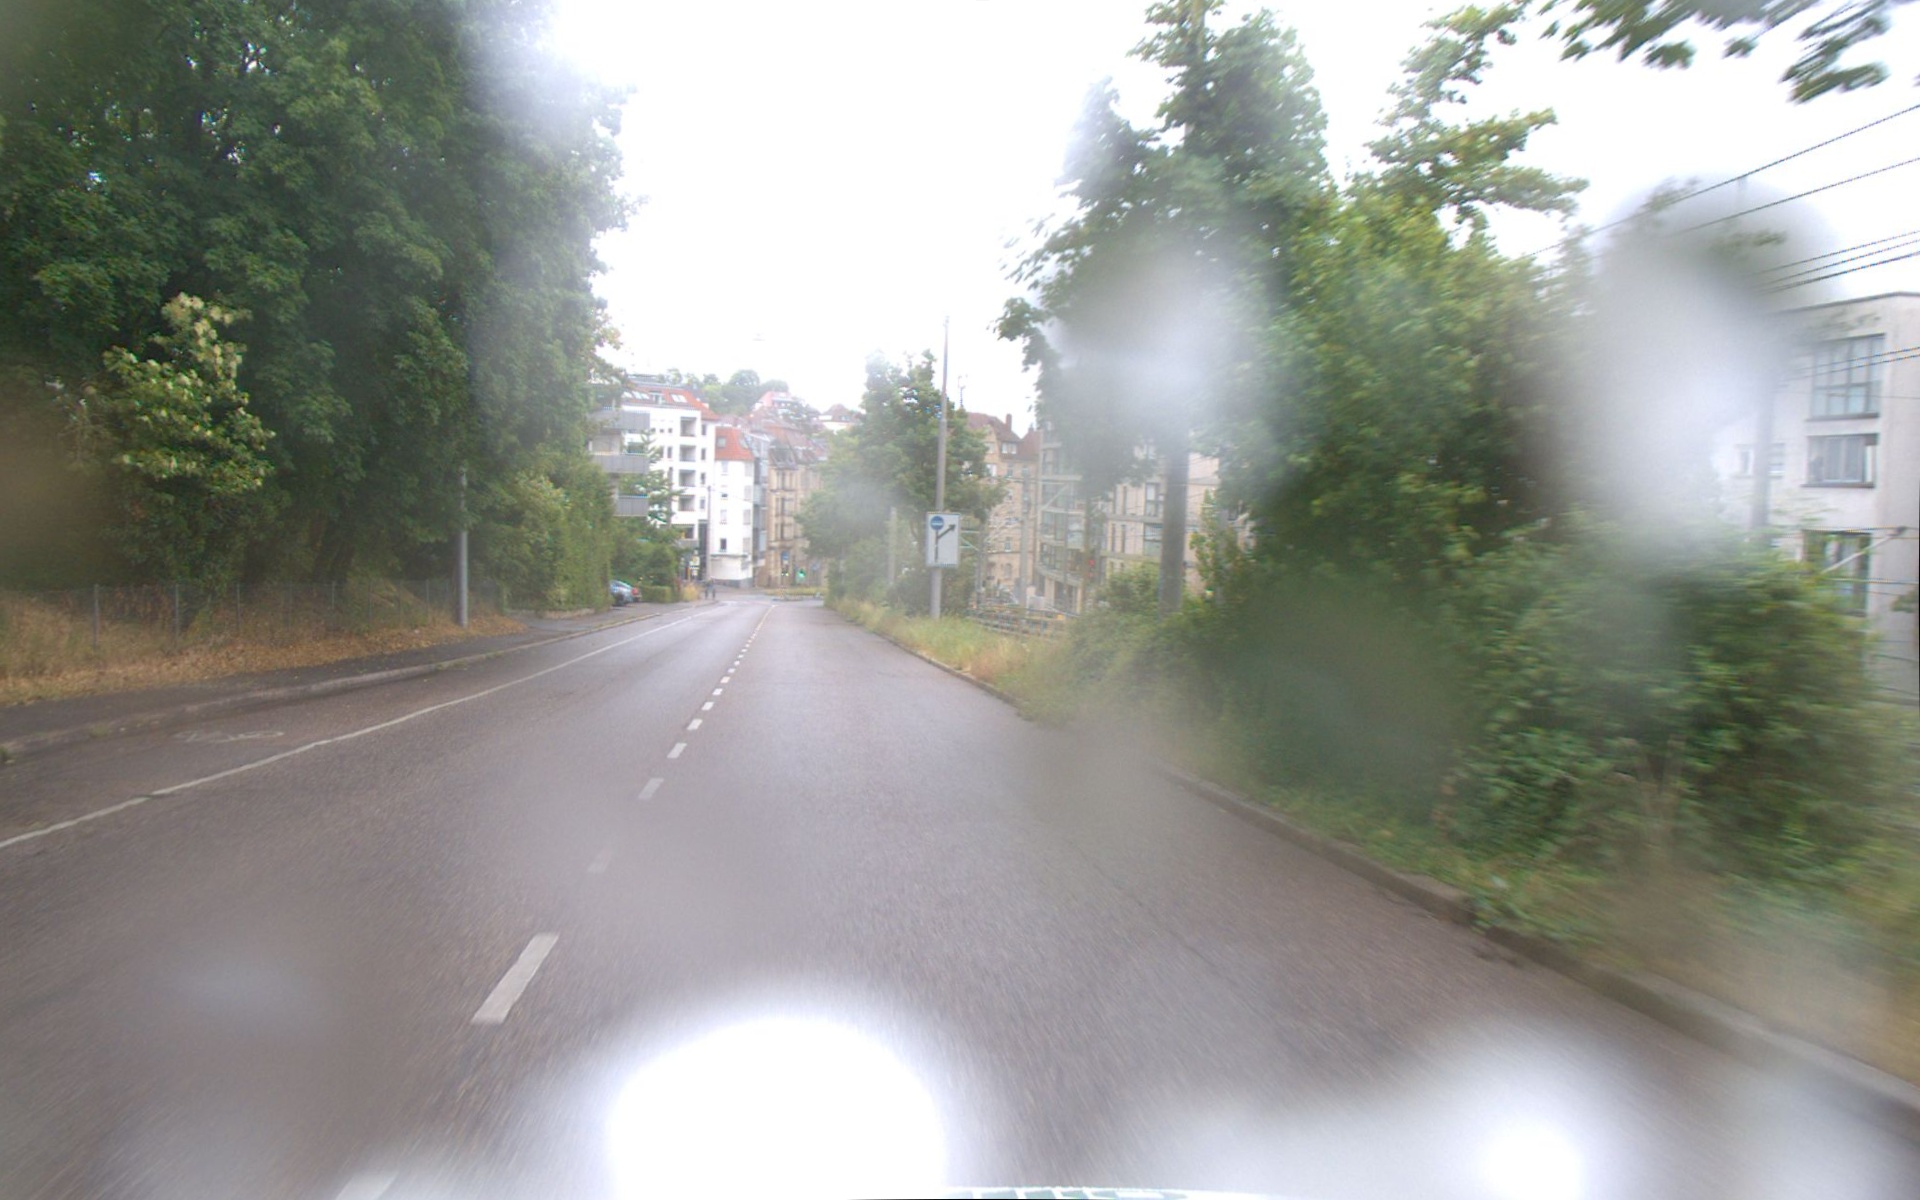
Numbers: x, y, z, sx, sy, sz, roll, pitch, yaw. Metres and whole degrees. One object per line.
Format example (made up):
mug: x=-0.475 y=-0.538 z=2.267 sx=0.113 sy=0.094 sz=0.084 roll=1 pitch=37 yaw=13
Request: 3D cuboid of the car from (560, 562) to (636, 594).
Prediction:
car: x=-19.568 y=-1.164 z=89.610 sx=3.915 sy=1.587 sz=1.875 roll=2 pitch=0 yaw=-11

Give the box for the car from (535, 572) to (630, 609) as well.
car: x=-18.667 y=-0.487 z=81.900 sx=4.364 sy=1.630 sz=1.812 roll=2 pitch=2 yaw=-7

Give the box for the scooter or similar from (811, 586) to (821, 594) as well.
scooter or similar: x=-14.515 y=-0.970 z=166.453 sx=0.474 sy=0.774 sz=1.330 roll=1 pitch=0 yaw=21

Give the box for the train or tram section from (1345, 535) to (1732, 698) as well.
train or tram section: x=16.780 y=0.283 z=51.125 sx=3.267 sy=4.016 sz=19.256 roll=2 pitch=1 yaw=-6

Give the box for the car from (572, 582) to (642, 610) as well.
car: x=-19.593 y=-0.234 z=91.985 sx=3.560 sy=1.431 sz=1.782 roll=2 pitch=0 yaw=-5
